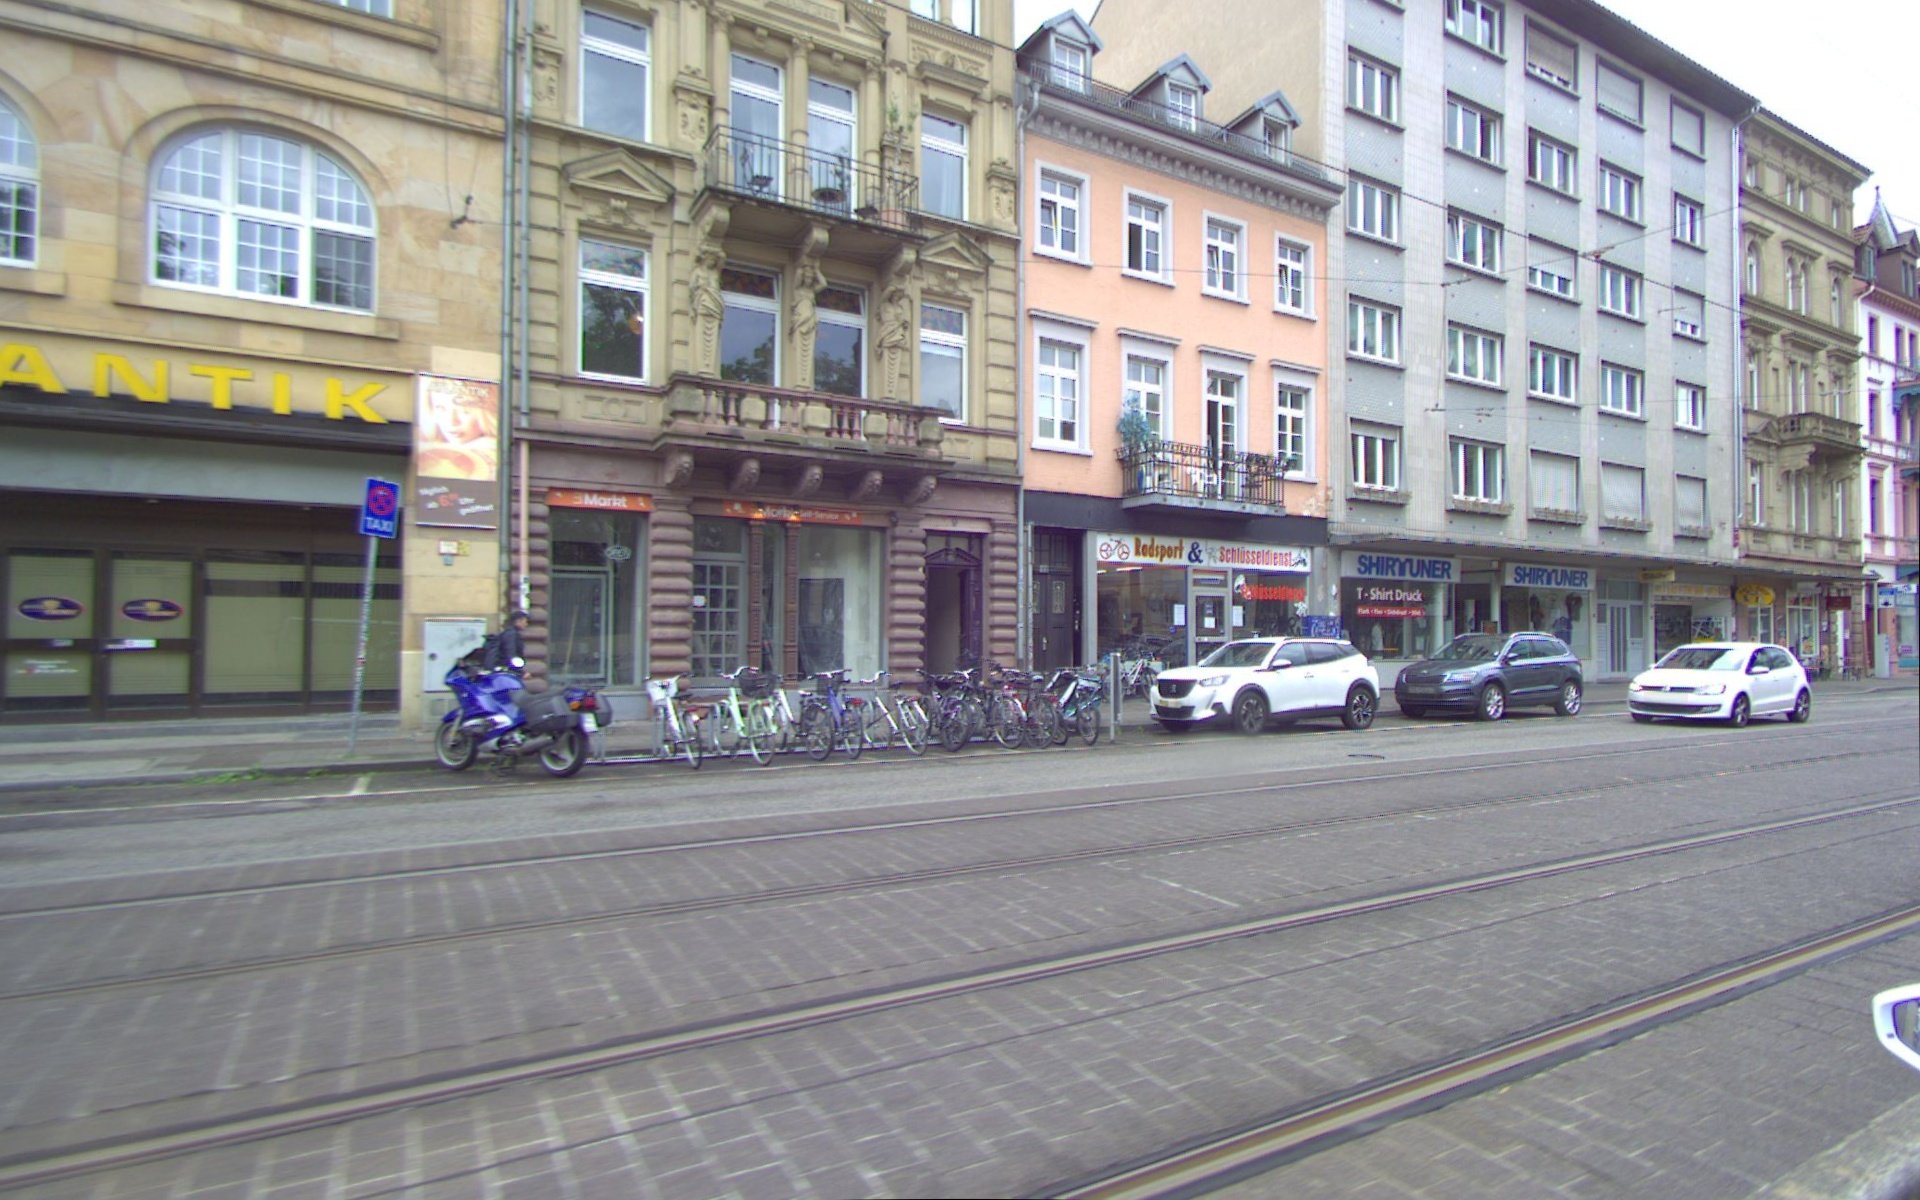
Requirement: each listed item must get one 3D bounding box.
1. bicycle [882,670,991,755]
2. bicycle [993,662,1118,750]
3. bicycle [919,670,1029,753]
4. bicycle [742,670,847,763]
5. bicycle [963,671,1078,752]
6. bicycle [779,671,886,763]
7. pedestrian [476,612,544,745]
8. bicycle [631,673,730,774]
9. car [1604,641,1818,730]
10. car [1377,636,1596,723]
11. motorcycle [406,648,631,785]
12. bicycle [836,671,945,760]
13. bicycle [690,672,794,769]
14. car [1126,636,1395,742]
[{"bbox_3d":[-0.356,1.500,13.793,0.459,1.014,1.952,2,-2,-36],"label":"bicycle"},{"bbox_3d":[1.369,1.527,14.901,0.499,1.141,2.215,2,-2,-36],"label":"bicycle"},{"bbox_3d":[0.164,1.524,14.092,0.459,1.014,1.952,2,-2,-36],"label":"bicycle"},{"bbox_3d":[-2.104,1.414,12.580,0.459,1.014,1.952,2,-2,-36],"label":"bicycle"},{"bbox_3d":[0.822,1.547,14.275,0.459,1.014,1.951,2,-2,-38],"label":"bicycle"},{"bbox_3d":[-1.673,1.463,12.911,0.459,1.014,1.952,2,-2,-36],"label":"bicycle"},{"bbox_3d":[-5.692,0.978,12.714,0.710,1.619,0.565,1,-2,-30],"label":"pedestrian"},{"bbox_3d":[-3.301,1.399,11.745,0.459,1.014,1.908,2,-2,-36],"label":"bicycle"},{"bbox_3d":[13.729,1.482,18.313,4.086,1.439,1.679,2,-2,-30],"label":"car"},{"bbox_3d":[10.302,1.485,19.585,4.350,1.524,1.768,2,-2,-30],"label":"car"},{"bbox_3d":[-4.748,1.189,10.788,2.299,1.320,0.883,0,-2,24],"label":"motorcycle"},{"bbox_3d":[-0.952,1.491,13.308,0.459,1.014,1.952,2,-2,-36],"label":"bicycle"},{"bbox_3d":[-2.668,1.413,12.151,0.459,1.014,1.952,2,-2,-36],"label":"bicycle"},{"bbox_3d":[4.983,1.377,16.500,4.350,1.524,1.768,2,-2,-30],"label":"car"}]
